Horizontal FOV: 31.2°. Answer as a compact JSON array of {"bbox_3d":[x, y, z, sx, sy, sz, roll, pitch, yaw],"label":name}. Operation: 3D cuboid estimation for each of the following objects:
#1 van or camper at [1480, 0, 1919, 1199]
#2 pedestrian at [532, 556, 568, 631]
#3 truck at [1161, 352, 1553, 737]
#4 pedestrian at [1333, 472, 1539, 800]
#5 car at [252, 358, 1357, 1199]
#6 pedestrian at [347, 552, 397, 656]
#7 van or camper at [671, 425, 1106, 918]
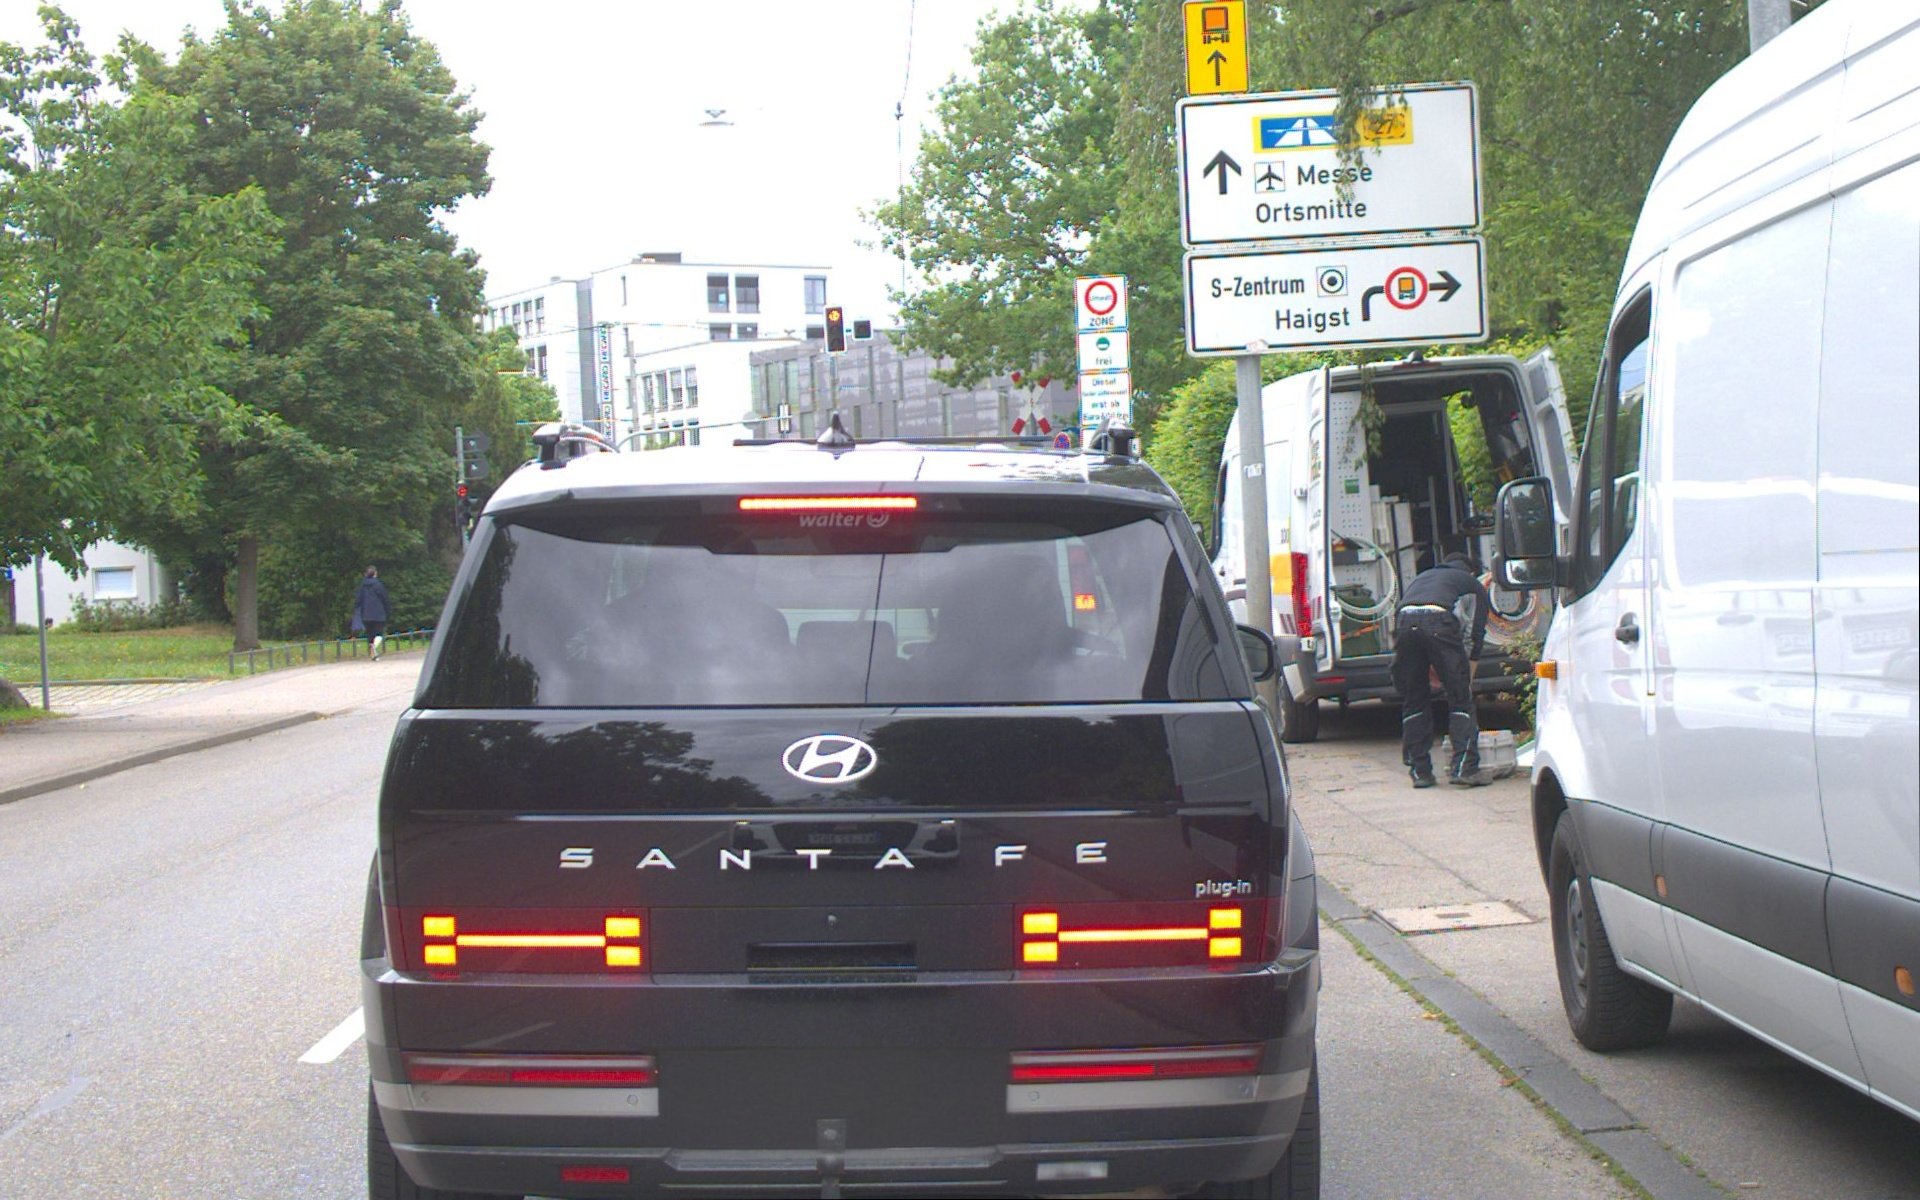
[{"bbox_3d":[2.628,-0.050,7.031,1.993,2.611,6.541,-2,1,-1],"label":"van or camper"},{"bbox_3d":[-9.426,-0.154,79.010,0.738,1.709,0.793,-2,1,-7],"label":"pedestrian"},{"bbox_3d":[2.901,-0.403,26.381,1.942,2.553,5.217,-3,1,-4],"label":"truck"},{"bbox_3d":[2.679,0.190,19.318,0.759,1.791,0.871,-1,1,38],"label":"pedestrian"},{"bbox_3d":[-0.286,0.465,7.902,1.889,1.813,4.000,0,1,-1],"label":"car"},{"bbox_3d":[-9.854,0.068,57.646,0.738,1.709,0.793,-2,1,-7],"label":"pedestrian"},{"bbox_3d":[-0.320,0.271,16.387,1.754,2.007,4.000,-2,1,-1],"label":"van or camper"}]
